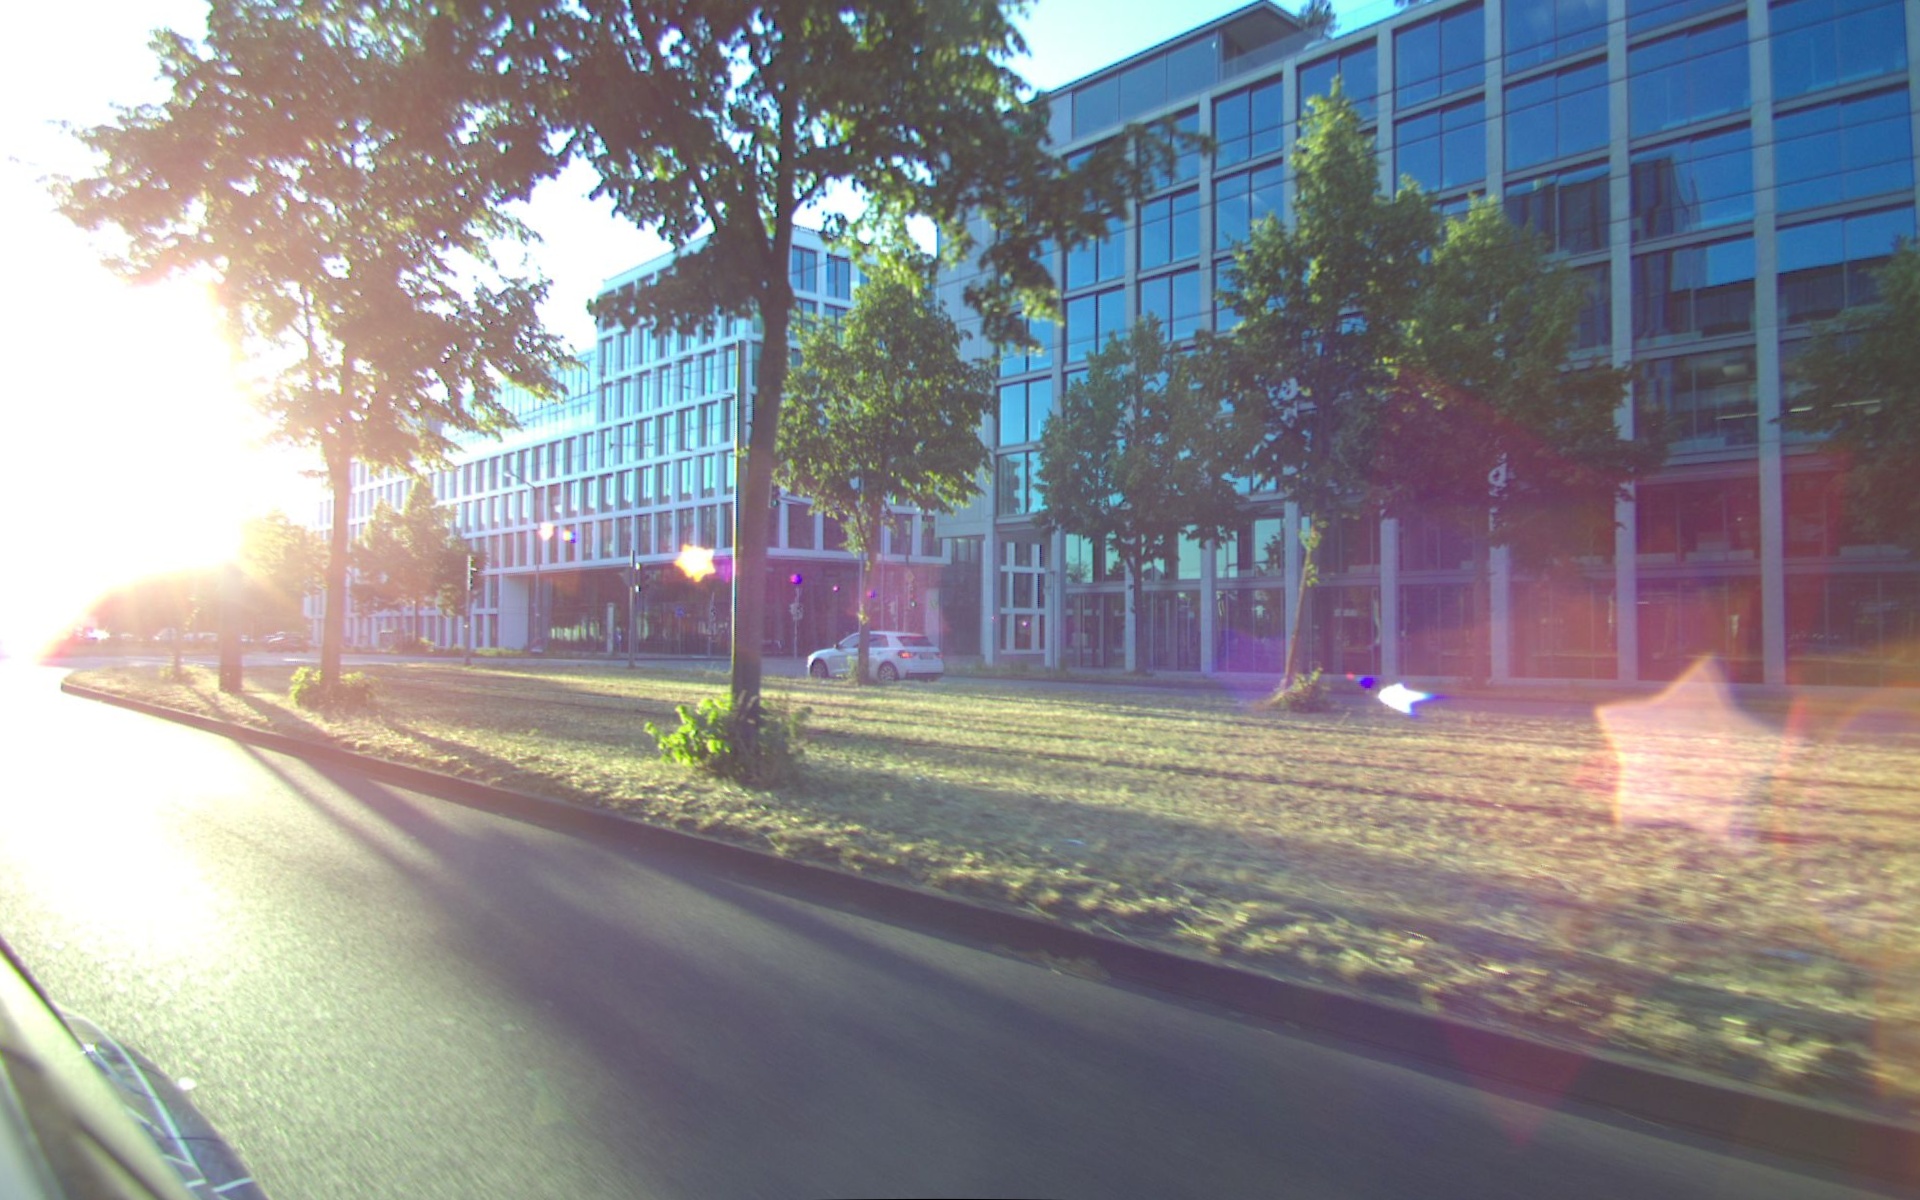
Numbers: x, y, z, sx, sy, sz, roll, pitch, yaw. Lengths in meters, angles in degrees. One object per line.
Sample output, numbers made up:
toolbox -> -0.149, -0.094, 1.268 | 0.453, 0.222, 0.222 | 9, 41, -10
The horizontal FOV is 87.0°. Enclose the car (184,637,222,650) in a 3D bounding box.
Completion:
car -> -108.035, 6.168, 144.462 | 1.997, 1.754, 4.032 | -2, -3, 38

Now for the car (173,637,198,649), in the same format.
car -> -112.904, 6.258, 147.496 | 4.608, 1.754, 1.973 | -2, -3, 41

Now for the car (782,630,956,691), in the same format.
car -> -2.478, 1.557, 26.897 | 4.626, 1.497, 1.883 | -2, -3, 39

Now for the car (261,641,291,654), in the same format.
car -> -77.732, 5.394, 114.990 | 3.996, 1.414, 1.741 | -2, -3, 40

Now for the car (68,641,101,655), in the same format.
car -> -95.674, 5.179, 110.543 | 4.895, 1.445, 1.973 | -2, -2, 40

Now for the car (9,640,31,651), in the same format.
car -> -124.898, 6.008, 134.512 | 3.996, 1.414, 1.629 | -2, -3, 40

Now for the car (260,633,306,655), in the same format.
car -> -46.391, 3.003, 69.301 | 3.998, 1.460, 1.623 | -2, -3, 41

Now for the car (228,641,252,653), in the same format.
car -> -94.186, 6.132, 132.368 | 1.969, 1.604, 4.339 | 1, -3, -43
